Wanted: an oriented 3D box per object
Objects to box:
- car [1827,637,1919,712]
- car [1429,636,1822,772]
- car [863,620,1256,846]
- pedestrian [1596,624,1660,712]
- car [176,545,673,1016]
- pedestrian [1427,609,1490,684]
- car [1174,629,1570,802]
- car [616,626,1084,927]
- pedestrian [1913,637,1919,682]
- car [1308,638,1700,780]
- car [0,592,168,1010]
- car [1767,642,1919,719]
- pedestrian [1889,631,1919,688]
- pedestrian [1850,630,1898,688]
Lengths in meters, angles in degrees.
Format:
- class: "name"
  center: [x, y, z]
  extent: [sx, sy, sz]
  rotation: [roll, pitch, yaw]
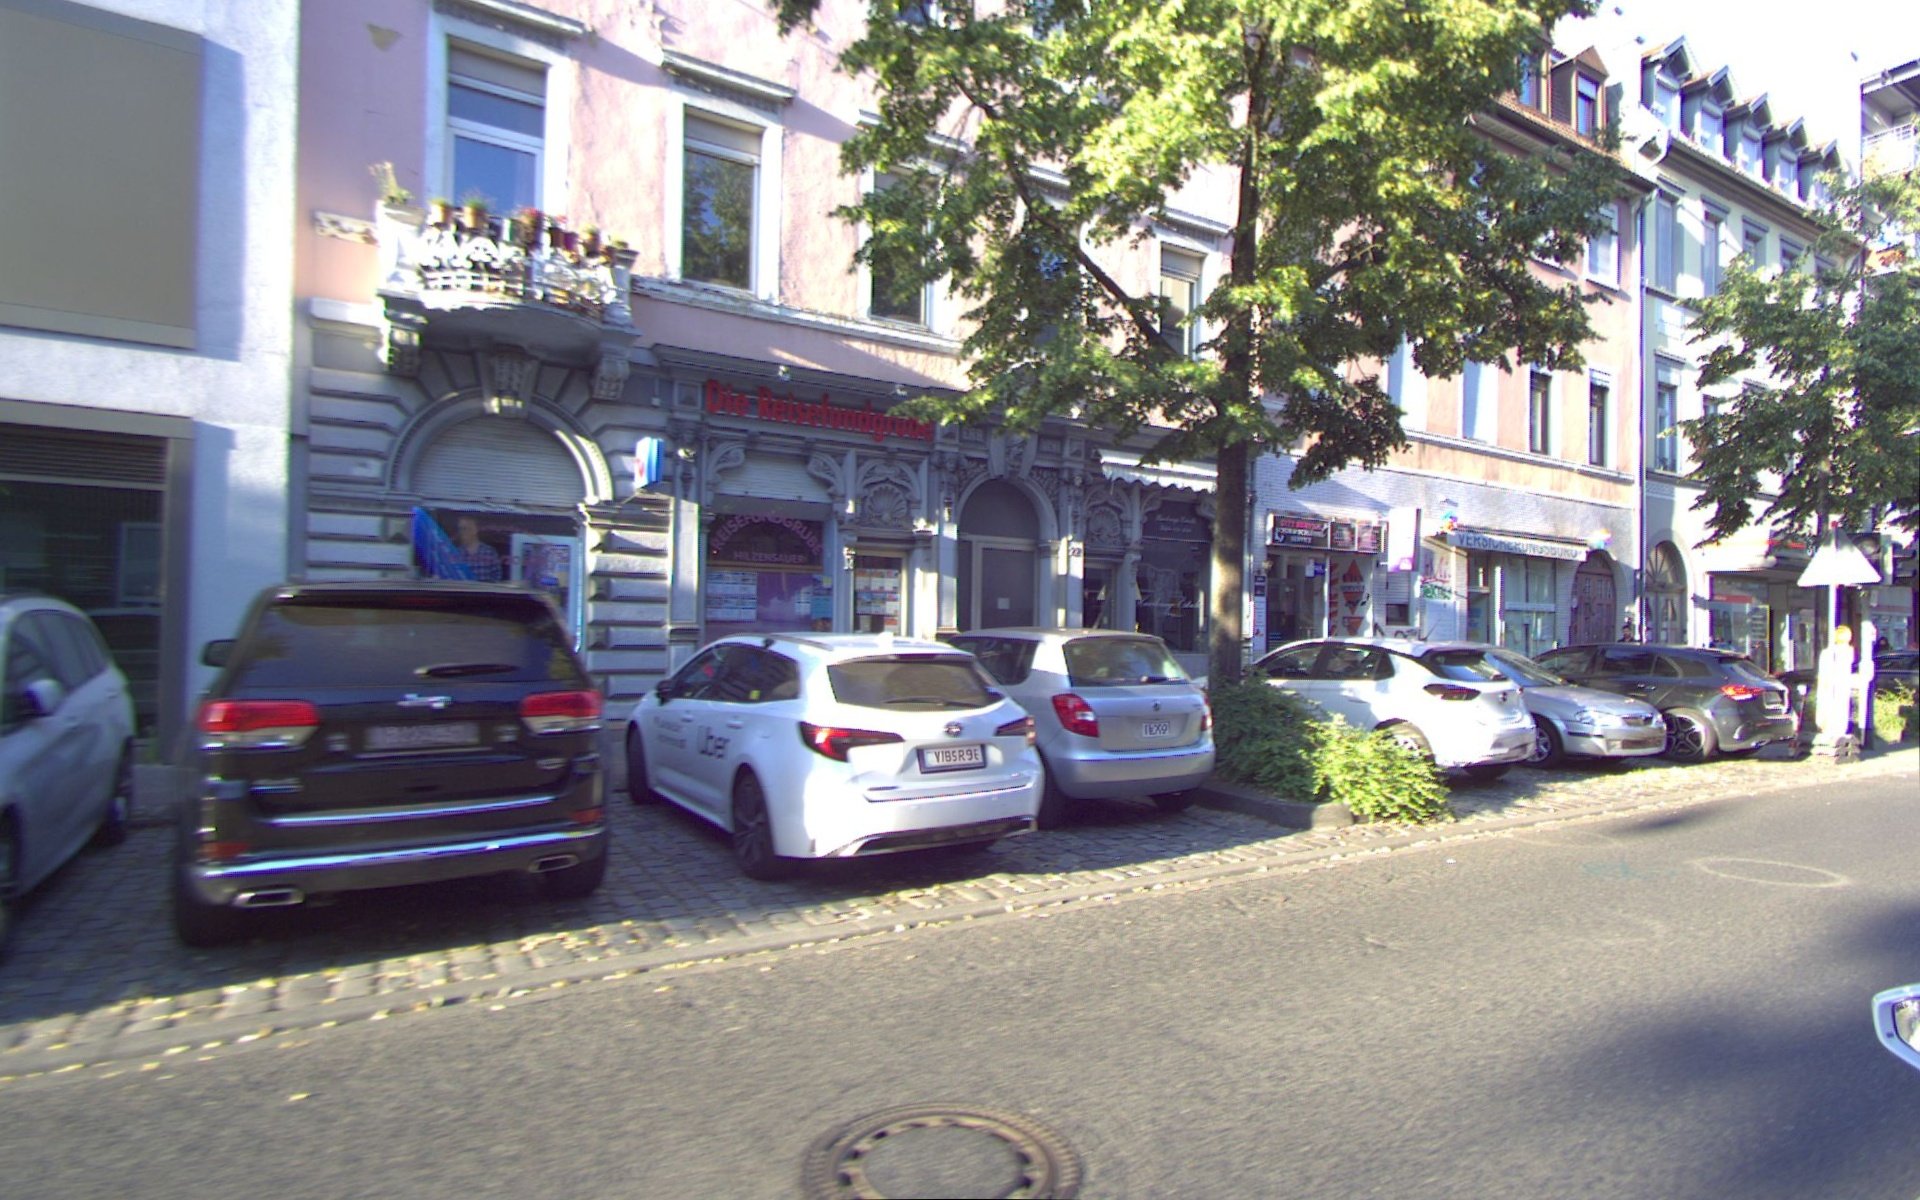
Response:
- class: "car"
  center: [21.851, 1.668, 21.933]
  extent: [1.862, 1.557, 4.052]
  rotation: [2, -1, -30]
- class: "car"
  center: [8.837, 1.277, 13.698]
  extent: [1.864, 1.422, 4.082]
  rotation: [2, -1, -33]
- class: "car"
  center: [0.687, 0.980, 8.996]
  extent: [1.697, 1.522, 3.537]
  rotation: [2, -1, -32]
- class: "pedestrian"
  center: [13.775, 1.391, 20.717]
  extent: [0.866, 1.744, 0.768]
  rotation: [3, -1, -31]
- class: "car"
  center: [-3.302, 0.713, 6.098]
  extent: [1.870, 1.796, 4.125]
  rotation: [2, -1, -33]
- class: "pedestrian"
  center: [10.664, 0.983, 21.504]
  extent: [0.804, 1.538, 0.874]
  rotation: [3, -1, -11]
- class: "car"
  center: [4.357, 1.112, 11.132]
  extent: [1.787, 1.463, 3.716]
  rotation: [2, -1, -33]
- class: "car"
  center: [-1.095, 0.967, 7.347]
  extent: [1.748, 1.440, 4.125]
  rotation: [2, -1, -33]
- class: "pedestrian"
  center: [34.841, 2.138, 36.171]
  extent: [0.693, 1.615, 0.593]
  rotation: [3, -3, -30]
- class: "car"
  center: [6.677, 1.235, 12.798]
  extent: [1.821, 1.422, 4.080]
  rotation: [2, -2, -29]
- class: "car"
  center: [-5.451, 0.763, 4.962]
  extent: [1.869, 1.617, 4.383]
  rotation: [1, 0, -31]
- class: "car"
  center: [19.381, 1.636, 20.245]
  extent: [1.801, 1.426, 4.545]
  rotation: [2, -1, -32]
- class: "pedestrian"
  center: [26.752, 1.674, 28.227]
  extent: [0.866, 1.548, 0.730]
  rotation: [3, -1, -31]
- class: "pedestrian"
  center: [26.181, 1.687, 28.777]
  extent: [0.866, 1.629, 0.768]
  rotation: [3, -1, -31]
